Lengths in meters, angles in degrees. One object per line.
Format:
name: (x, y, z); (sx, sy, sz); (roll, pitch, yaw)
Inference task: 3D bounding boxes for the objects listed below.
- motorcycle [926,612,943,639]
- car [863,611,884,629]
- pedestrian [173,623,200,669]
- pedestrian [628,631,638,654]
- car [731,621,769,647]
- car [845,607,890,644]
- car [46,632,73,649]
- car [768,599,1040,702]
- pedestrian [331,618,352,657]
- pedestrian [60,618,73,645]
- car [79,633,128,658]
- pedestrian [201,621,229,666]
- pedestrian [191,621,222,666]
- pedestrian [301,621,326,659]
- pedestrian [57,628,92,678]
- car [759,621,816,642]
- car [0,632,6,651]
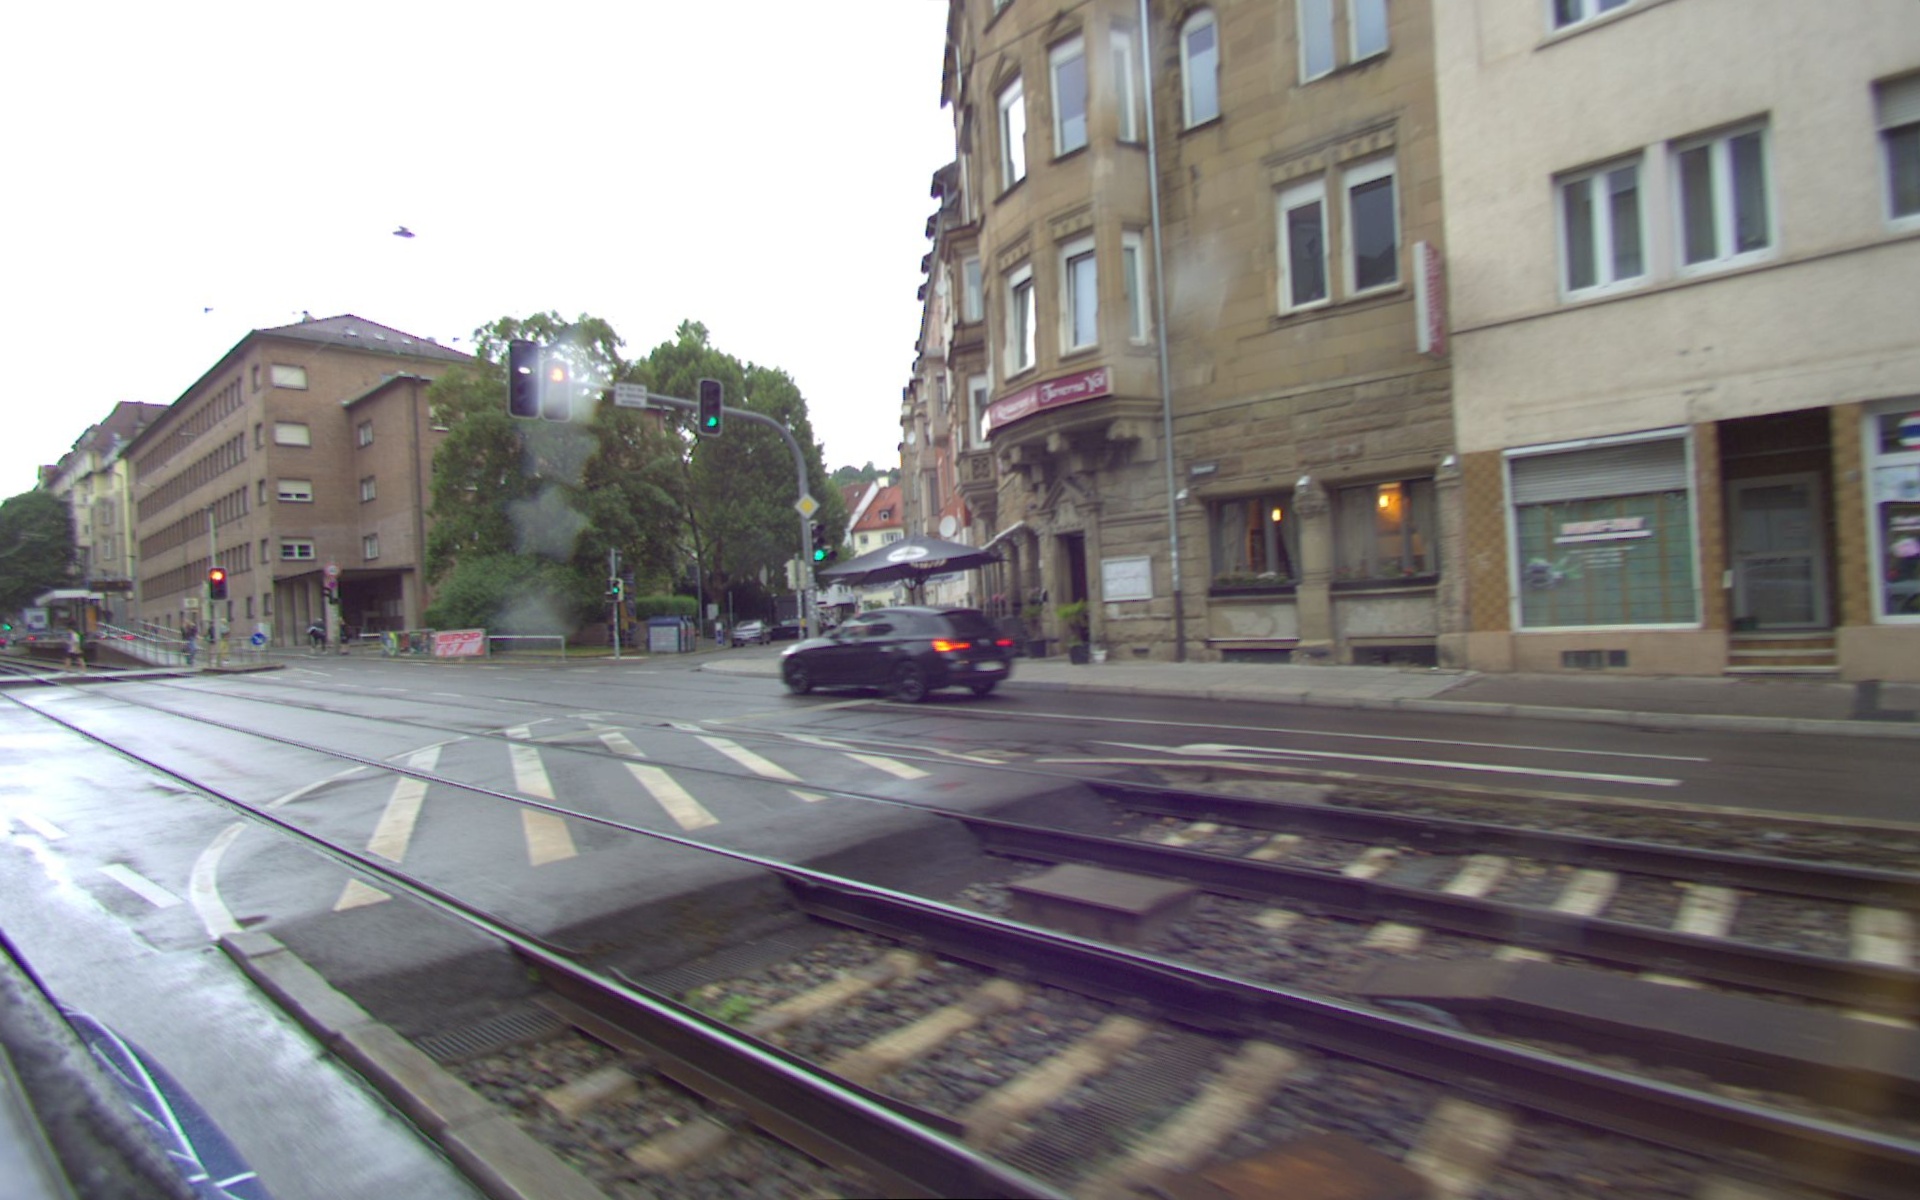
motorcycle: (-1.275, 1.247, 49.842); (0.737, 1.265, 1.861); (-1, -1, -5)
car: (-7.456, 1.729, 87.326); (1.715, 1.413, 4.005); (-1, -1, -6)
pedestrian: (-29.894, 1.756, 39.116); (0.688, 1.711, 0.658); (-1, 1, 40)
pedestrian: (-15.409, 2.010, 47.725); (0.411, 1.093, 0.283); (-1, -1, -23)
car: (-12.098, 1.944, 58.534); (1.715, 1.413, 4.005); (-1, -1, -6)
car: (-3.842, 1.057, 41.836); (1.715, 1.413, 4.005); (-1, -1, -6)
car: (-82.981, 3.735, 93.235); (3.112, 1.477, 1.626); (-2, 0, 45)
car: (-0.996, 0.765, 16.139); (4.274, 1.407, 1.927); (-2, -2, 43)
pedestrian: (-26.735, 1.616, 43.733); (0.688, 1.688, 0.597); (-3, -2, 40)
pedestrian: (-58.330, 2.044, 66.053); (0.491, 1.722, 0.581); (-3, -2, 42)
car: (-60.200, 3.185, 71.101); (5.253, 1.640, 1.972); (-1, -2, 43)
pedestrian: (-28.110, 1.637, 38.189); (0.641, 1.659, 0.735); (0, 1, 43)
pedestrian: (-29.893, 1.719, 40.149); (0.882, 1.709, 0.736); (-1, 1, 41)
pedestrian: (-28.555, 1.767, 44.712); (0.648, 1.663, 0.757); (-2, -1, 42)
pedestrian: (-29.152, 1.729, 33.316); (0.955, 1.595, 0.686); (-2, -1, 37)
car: (-12.751, 2.328, 74.954); (3.941, 1.489, 1.743); (-1, -1, -3)
car: (-108.786, 4.680, 113.826); (4.000, 2.029, 1.972); (-2, -2, 43)
